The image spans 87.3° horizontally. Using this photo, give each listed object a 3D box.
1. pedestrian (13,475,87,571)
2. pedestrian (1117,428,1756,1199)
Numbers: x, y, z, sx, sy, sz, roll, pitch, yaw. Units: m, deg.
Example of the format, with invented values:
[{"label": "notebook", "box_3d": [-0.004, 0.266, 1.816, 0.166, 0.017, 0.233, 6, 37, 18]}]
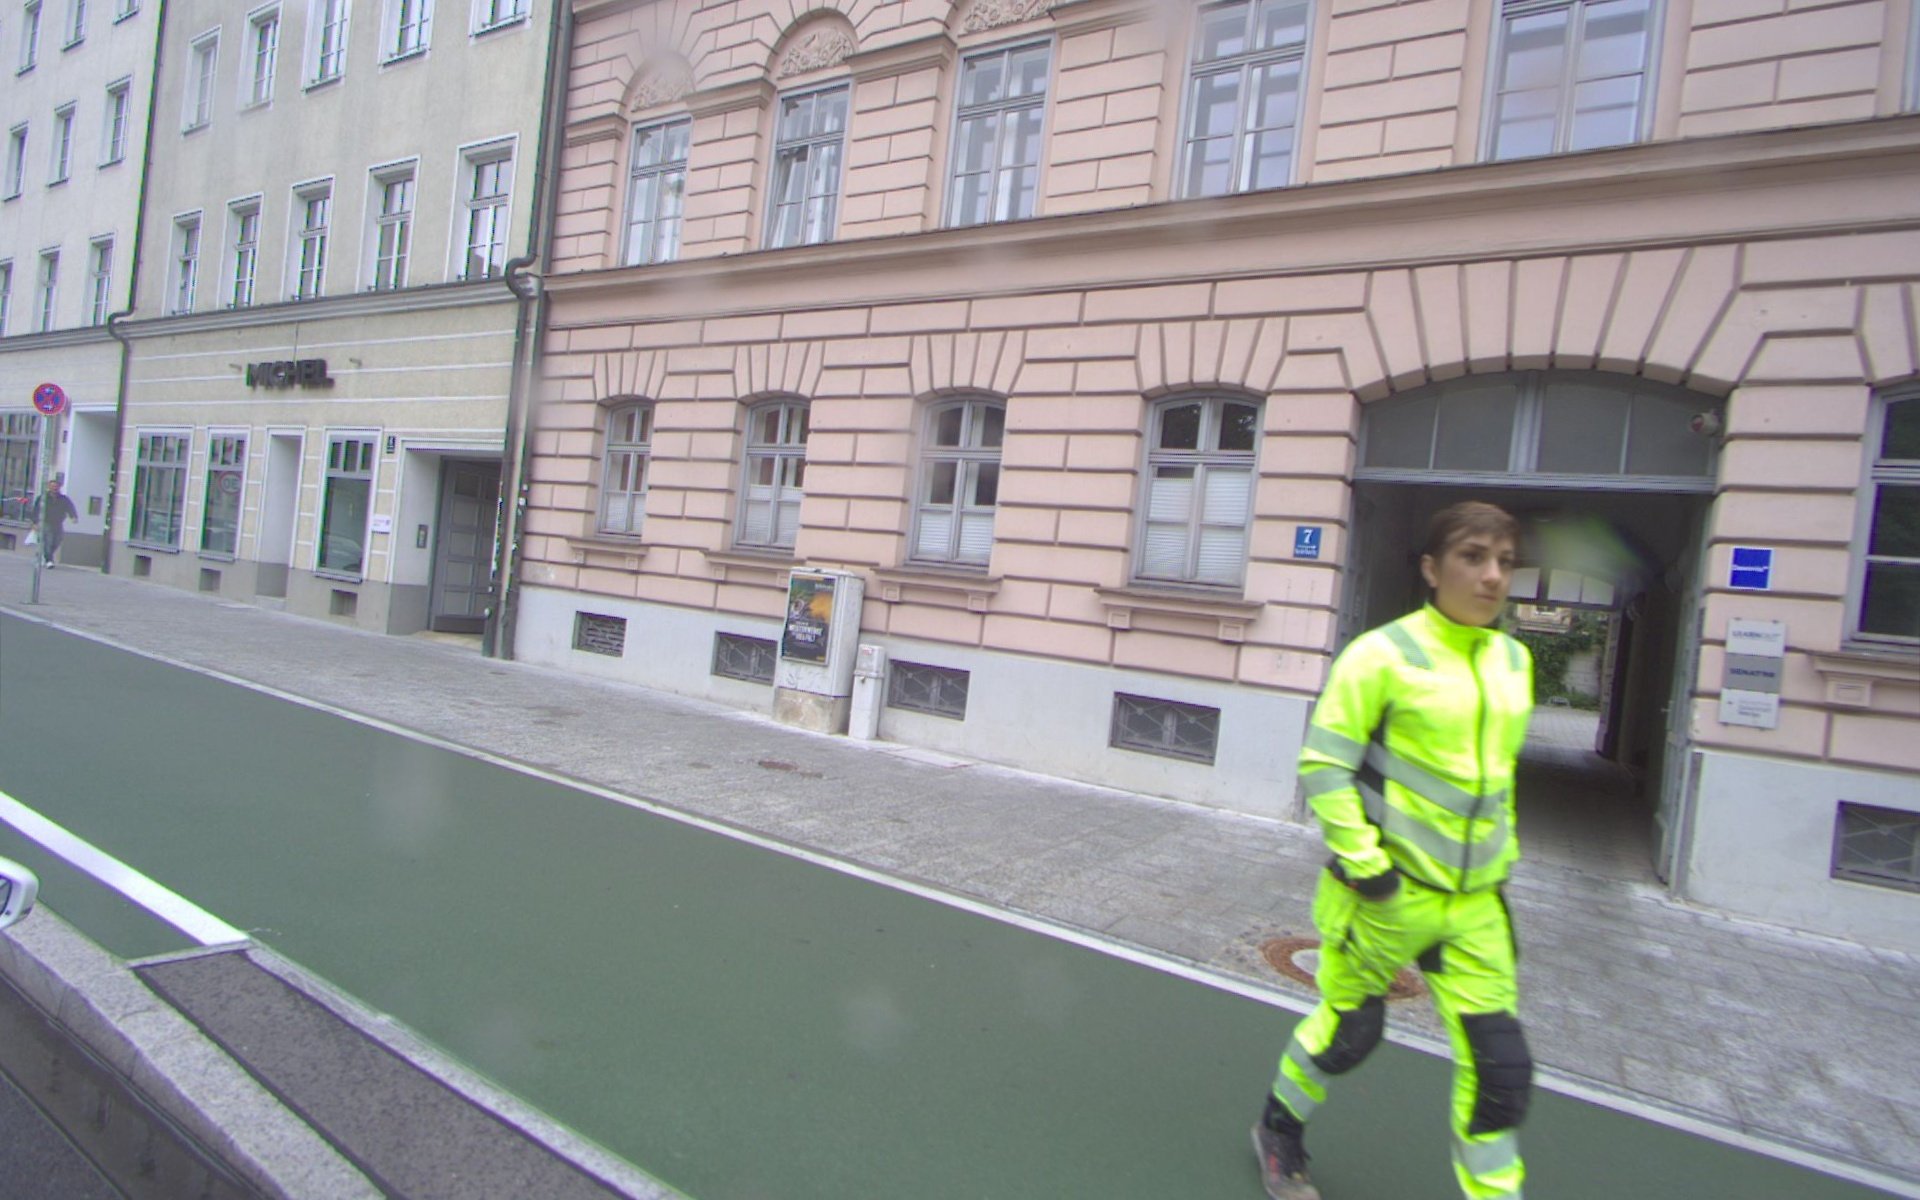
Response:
[{"label": "pedestrian", "box_3d": [-18.160, -1.531, 20.082, 0.819, 1.767, 0.794, 7, 1, 32]}, {"label": "pedestrian", "box_3d": [1.013, 0.636, 2.403, 0.802, 1.825, 0.990, 5, 0, -13]}]
